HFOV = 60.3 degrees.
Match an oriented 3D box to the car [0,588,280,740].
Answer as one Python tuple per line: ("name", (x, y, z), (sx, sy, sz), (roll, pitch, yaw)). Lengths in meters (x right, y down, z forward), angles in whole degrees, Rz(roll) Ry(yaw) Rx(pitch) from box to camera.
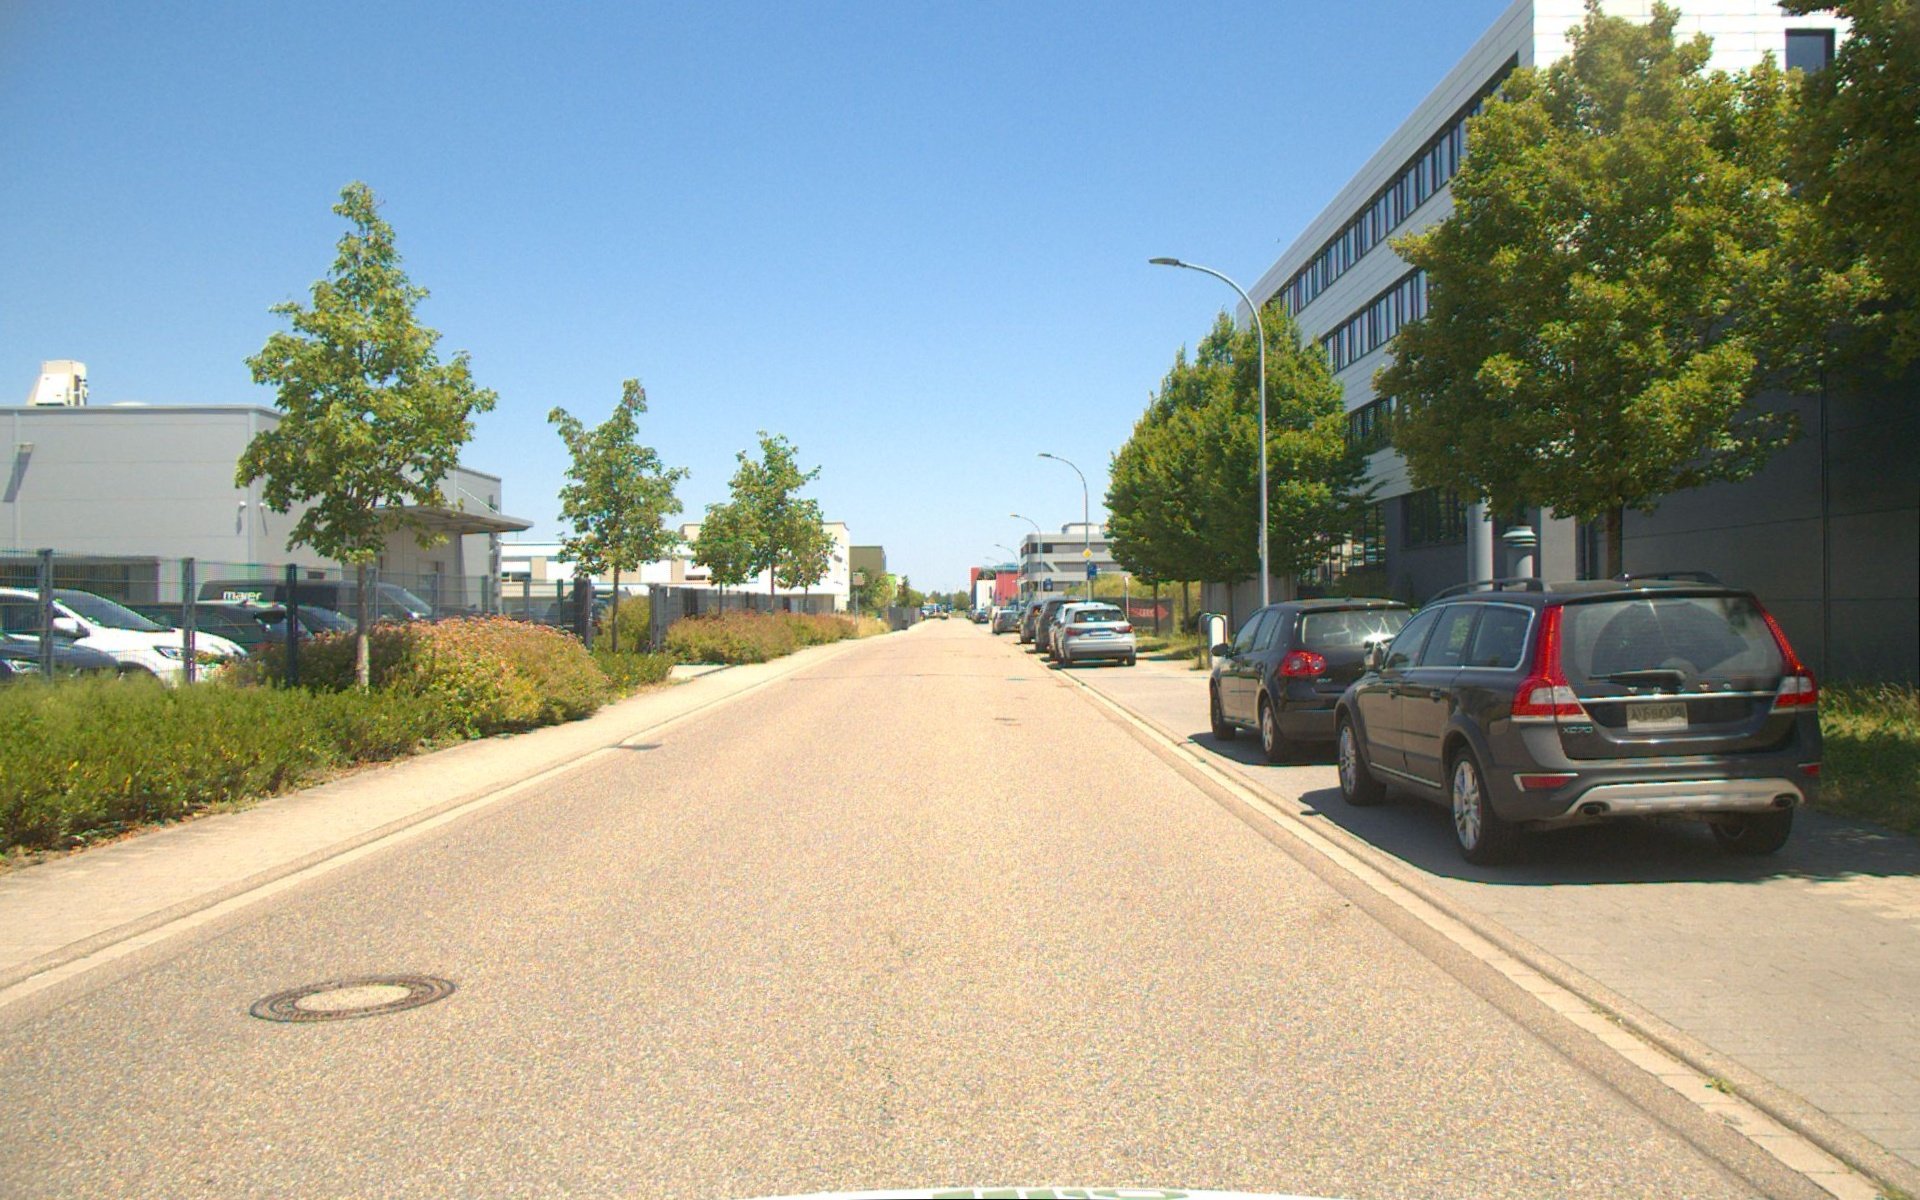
("car", (-10.612, 0.715, 19.160), (4.635, 1.657, 2.000), (0, 0, 0))

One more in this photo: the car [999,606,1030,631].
("car", (3.448, 1.155, 104.099), (1.868, 1.473, 4.001), (-2, -1, 2))

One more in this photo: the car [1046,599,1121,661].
("car", (3.263, 0.770, 44.322), (1.681, 1.507, 4.031), (-3, 0, 0))

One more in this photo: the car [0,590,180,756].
("car", (-10.650, 0.700, 16.640), (4.635, 1.562, 2.000), (0, 0, 0))

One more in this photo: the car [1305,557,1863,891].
("car", (3.714, 0.642, 10.888), (1.771, 1.646, 4.713), (-2, 0, -1))

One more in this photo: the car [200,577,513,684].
("car", (-10.900, 0.548, 30.128), (4.956, 1.883, 1.964), (0, 0, -1))

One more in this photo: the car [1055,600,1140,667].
("car", (3.258, 0.766, 39.738), (1.681, 1.448, 3.951), (-3, 0, 0))

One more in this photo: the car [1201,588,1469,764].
("car", (3.648, 0.680, 16.847), (1.657, 1.502, 4.268), (-2, 0, -1))

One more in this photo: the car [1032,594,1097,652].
("car", (3.221, 0.691, 51.751), (1.722, 1.692, 4.363), (-2, 0, 0))

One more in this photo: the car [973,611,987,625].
("car", (2.571, 2.357, 215.108), (1.739, 1.758, 4.000), (1, 0, 0))

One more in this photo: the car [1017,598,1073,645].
("car", (3.272, 0.816, 64.404), (1.767, 1.691, 4.607), (-3, 0, -1))
